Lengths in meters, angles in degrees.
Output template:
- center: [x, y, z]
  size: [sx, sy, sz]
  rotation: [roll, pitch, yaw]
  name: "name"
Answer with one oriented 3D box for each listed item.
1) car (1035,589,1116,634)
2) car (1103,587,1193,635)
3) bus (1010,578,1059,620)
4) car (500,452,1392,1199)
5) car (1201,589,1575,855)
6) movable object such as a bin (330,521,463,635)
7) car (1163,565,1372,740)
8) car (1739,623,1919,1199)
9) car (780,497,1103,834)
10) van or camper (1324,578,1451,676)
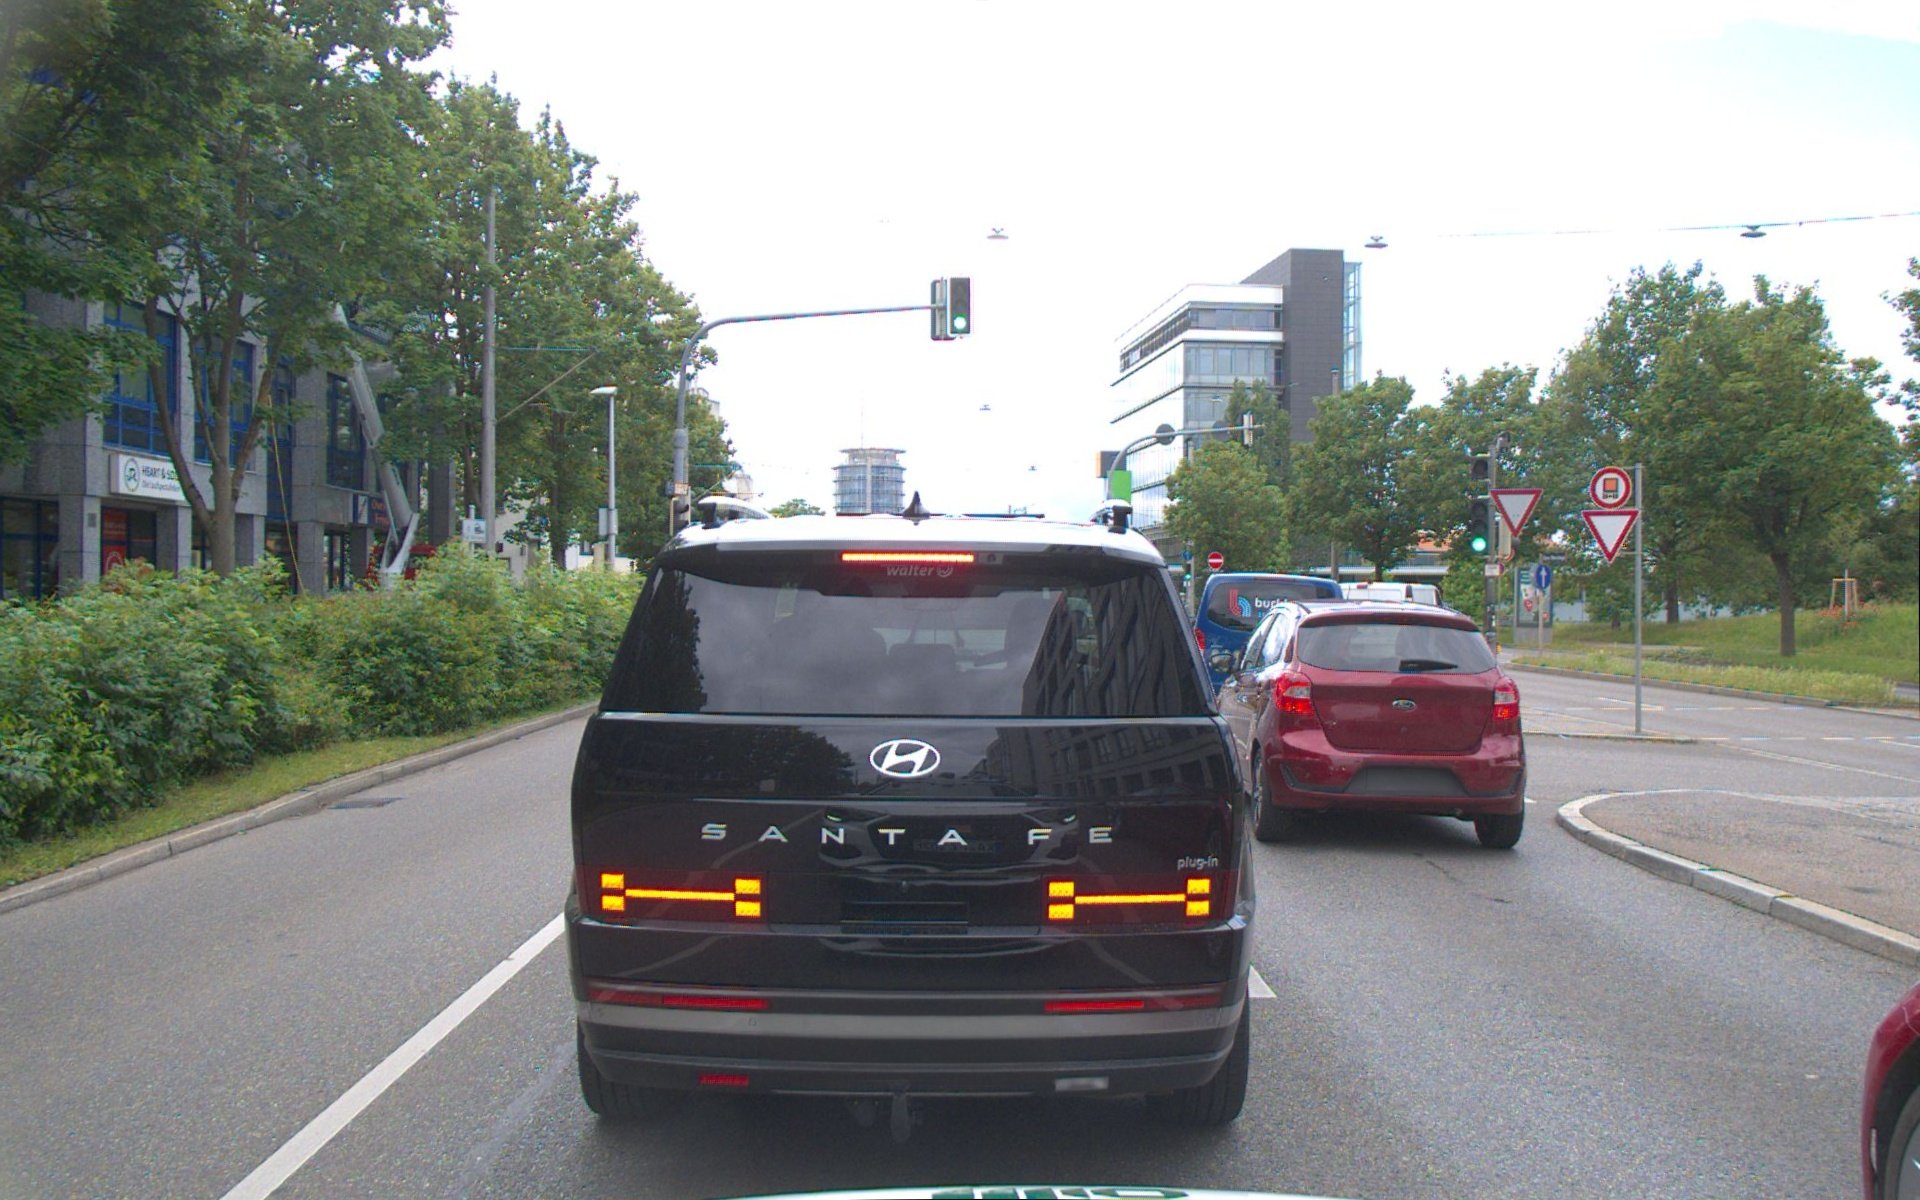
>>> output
- center: [4.048, 0.387, 58.739]
  size: [1.751, 1.450, 4.384]
  rotation: [2, 1, -11]
  name: "car"
- center: [6.782, 0.376, 60.066]
  size: [1.856, 1.591, 4.381]
  rotation: [2, 1, -13]
  name: "car"
- center: [5.916, -0.042, 133.307]
  size: [2.908, 3.171, 9.236]
  rotation: [-1, 0, -4]
  name: "bus"
- center: [-0.059, 0.581, 5.764]
  size: [1.863, 1.762, 4.445]
  rotation: [2, 0, -1]
  name: "car"
- center: [2.765, 0.699, 11.514]
  size: [1.708, 1.507, 3.719]
  rotation: [1, 0, 2]
  name: "car"
- center: [-13.730, -0.528, 40.513]
  size: [1.866, 2.575, 4.126]
  rotation: [2, 0, -2]
  name: "movable object such as a bin"
- center: [3.710, 0.572, 20.783]
  size: [1.862, 1.891, 4.711]
  rotation: [2, 0, 2]
  name: "car"
- center: [2.804, 0.820, 1.618]
  size: [1.835, 1.443, 4.440]
  rotation: [2, 0, -2]
  name: "car"
- center: [0.077, 0.387, 12.489]
  size: [1.862, 2.003, 4.639]
  rotation: [2, 0, 6]
  name: "car"
- center: [9.397, 0.522, 36.117]
  size: [1.954, 1.951, 4.407]
  rotation: [2, 1, 24]
  name: "van or camper"
